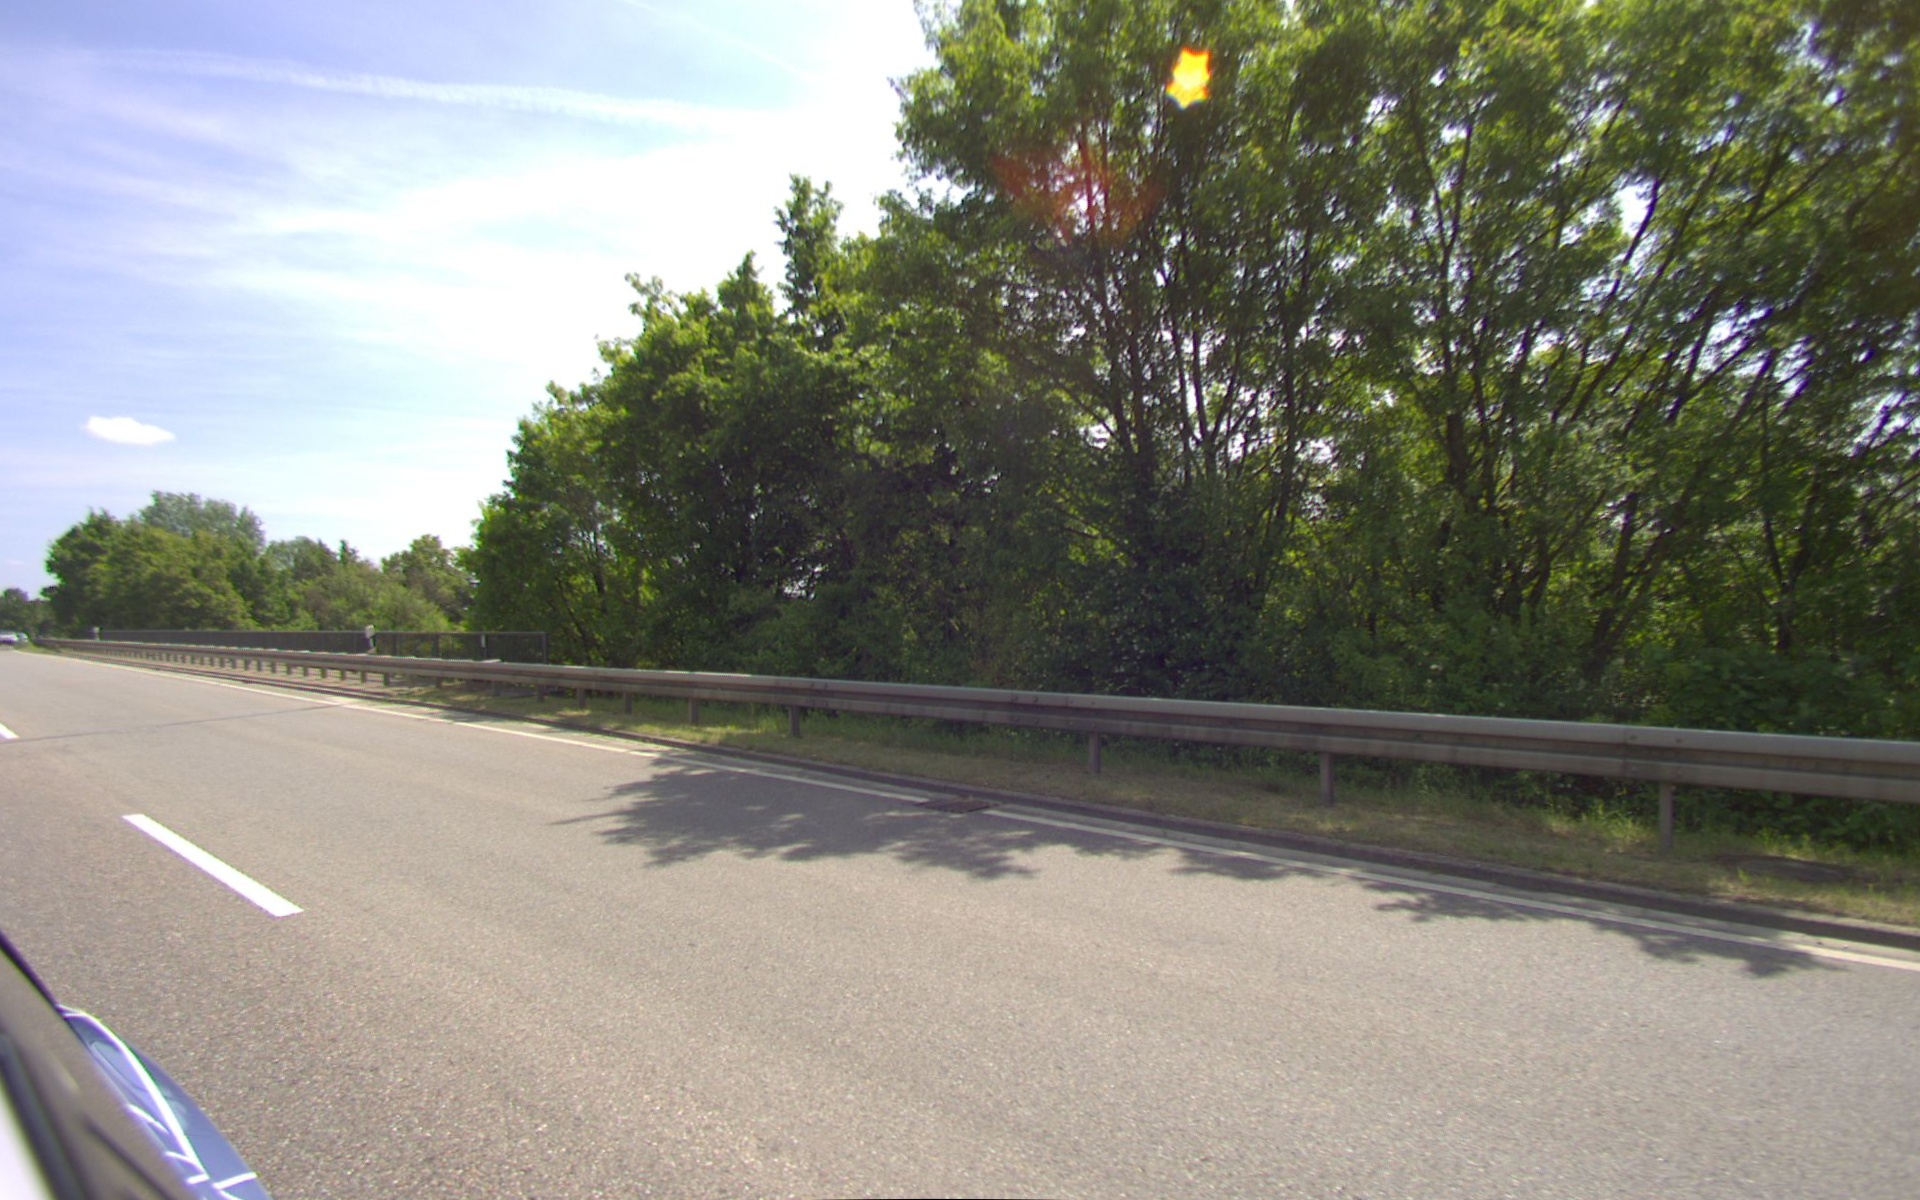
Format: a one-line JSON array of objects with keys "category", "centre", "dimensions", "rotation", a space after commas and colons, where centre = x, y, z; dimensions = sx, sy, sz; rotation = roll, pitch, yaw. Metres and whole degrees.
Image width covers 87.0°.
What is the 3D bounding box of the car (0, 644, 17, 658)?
[{"category": "car", "centre": [-108.746, 5.800, 115.109], "dimensions": [1.855, 1.523, 4.551], "rotation": [0, -2, -39]}]
